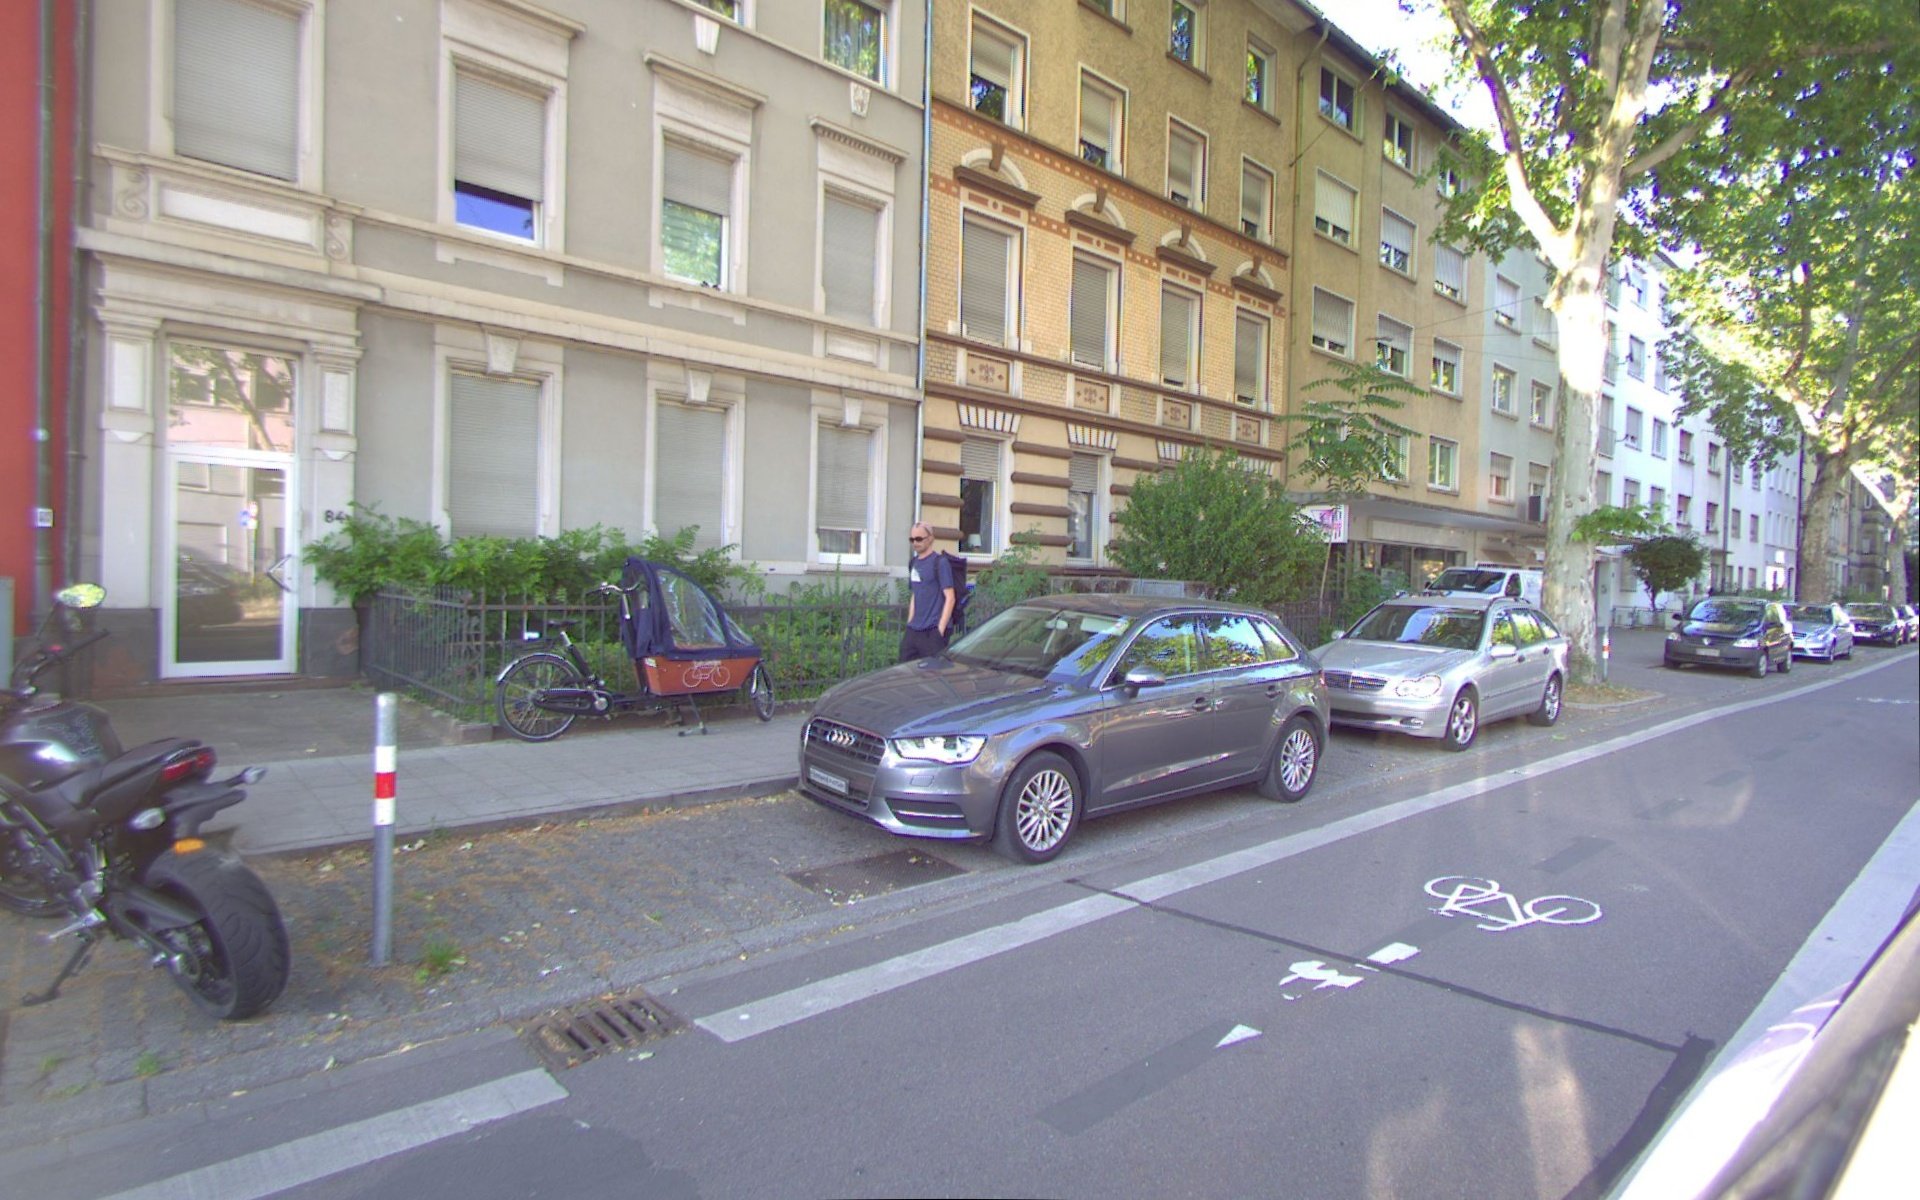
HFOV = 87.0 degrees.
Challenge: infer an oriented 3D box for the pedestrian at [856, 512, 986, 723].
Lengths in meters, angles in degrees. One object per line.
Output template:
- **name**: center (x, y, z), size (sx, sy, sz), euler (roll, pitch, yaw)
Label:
- **pedestrian**: center (-0.348, 0.120, 8.870), size (0.802, 1.731, 0.728), euler (-1, 4, -41)

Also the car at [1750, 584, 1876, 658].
- **car**: center (21.821, 0.466, 25.836), size (4.295, 1.628, 1.802), euler (0, 4, -42)

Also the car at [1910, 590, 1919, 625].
- **car**: center (46.718, 0.386, 48.135), size (4.034, 1.628, 1.802), euler (0, 4, -42)

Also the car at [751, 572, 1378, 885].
- **car**: center (0.933, 0.601, 6.974), size (4.293, 1.418, 1.802), euler (0, 4, -41)

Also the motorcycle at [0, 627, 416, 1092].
- **motorcycle**: center (-3.016, 0.753, 3.585), size (2.188, 1.124, 0.659), euler (4, 2, 23)

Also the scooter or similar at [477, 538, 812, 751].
- **scooter or similar**: center (-2.440, 0.294, 8.129), size (2.500, 1.488, 0.666), euler (0, 2, -41)

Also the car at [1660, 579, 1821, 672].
- **car**: center (16.133, 0.447, 20.839), size (4.295, 1.628, 1.802), euler (0, 4, -42)

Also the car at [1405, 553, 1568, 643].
- **car**: center (12.800, -0.078, 24.497), size (4.597, 1.897, 1.932), euler (0, 4, -42)

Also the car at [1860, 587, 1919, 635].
- **car**: center (35.384, 0.384, 38.030), size (4.295, 1.628, 1.802), euler (0, 4, -42)

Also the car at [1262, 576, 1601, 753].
- **car**: center (5.333, 0.543, 11.151), size (4.436, 1.472, 1.801), euler (0, 4, -43)

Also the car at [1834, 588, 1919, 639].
- **car**: center (31.503, 0.430, 34.662), size (4.295, 1.520, 1.802), euler (0, 4, -42)
